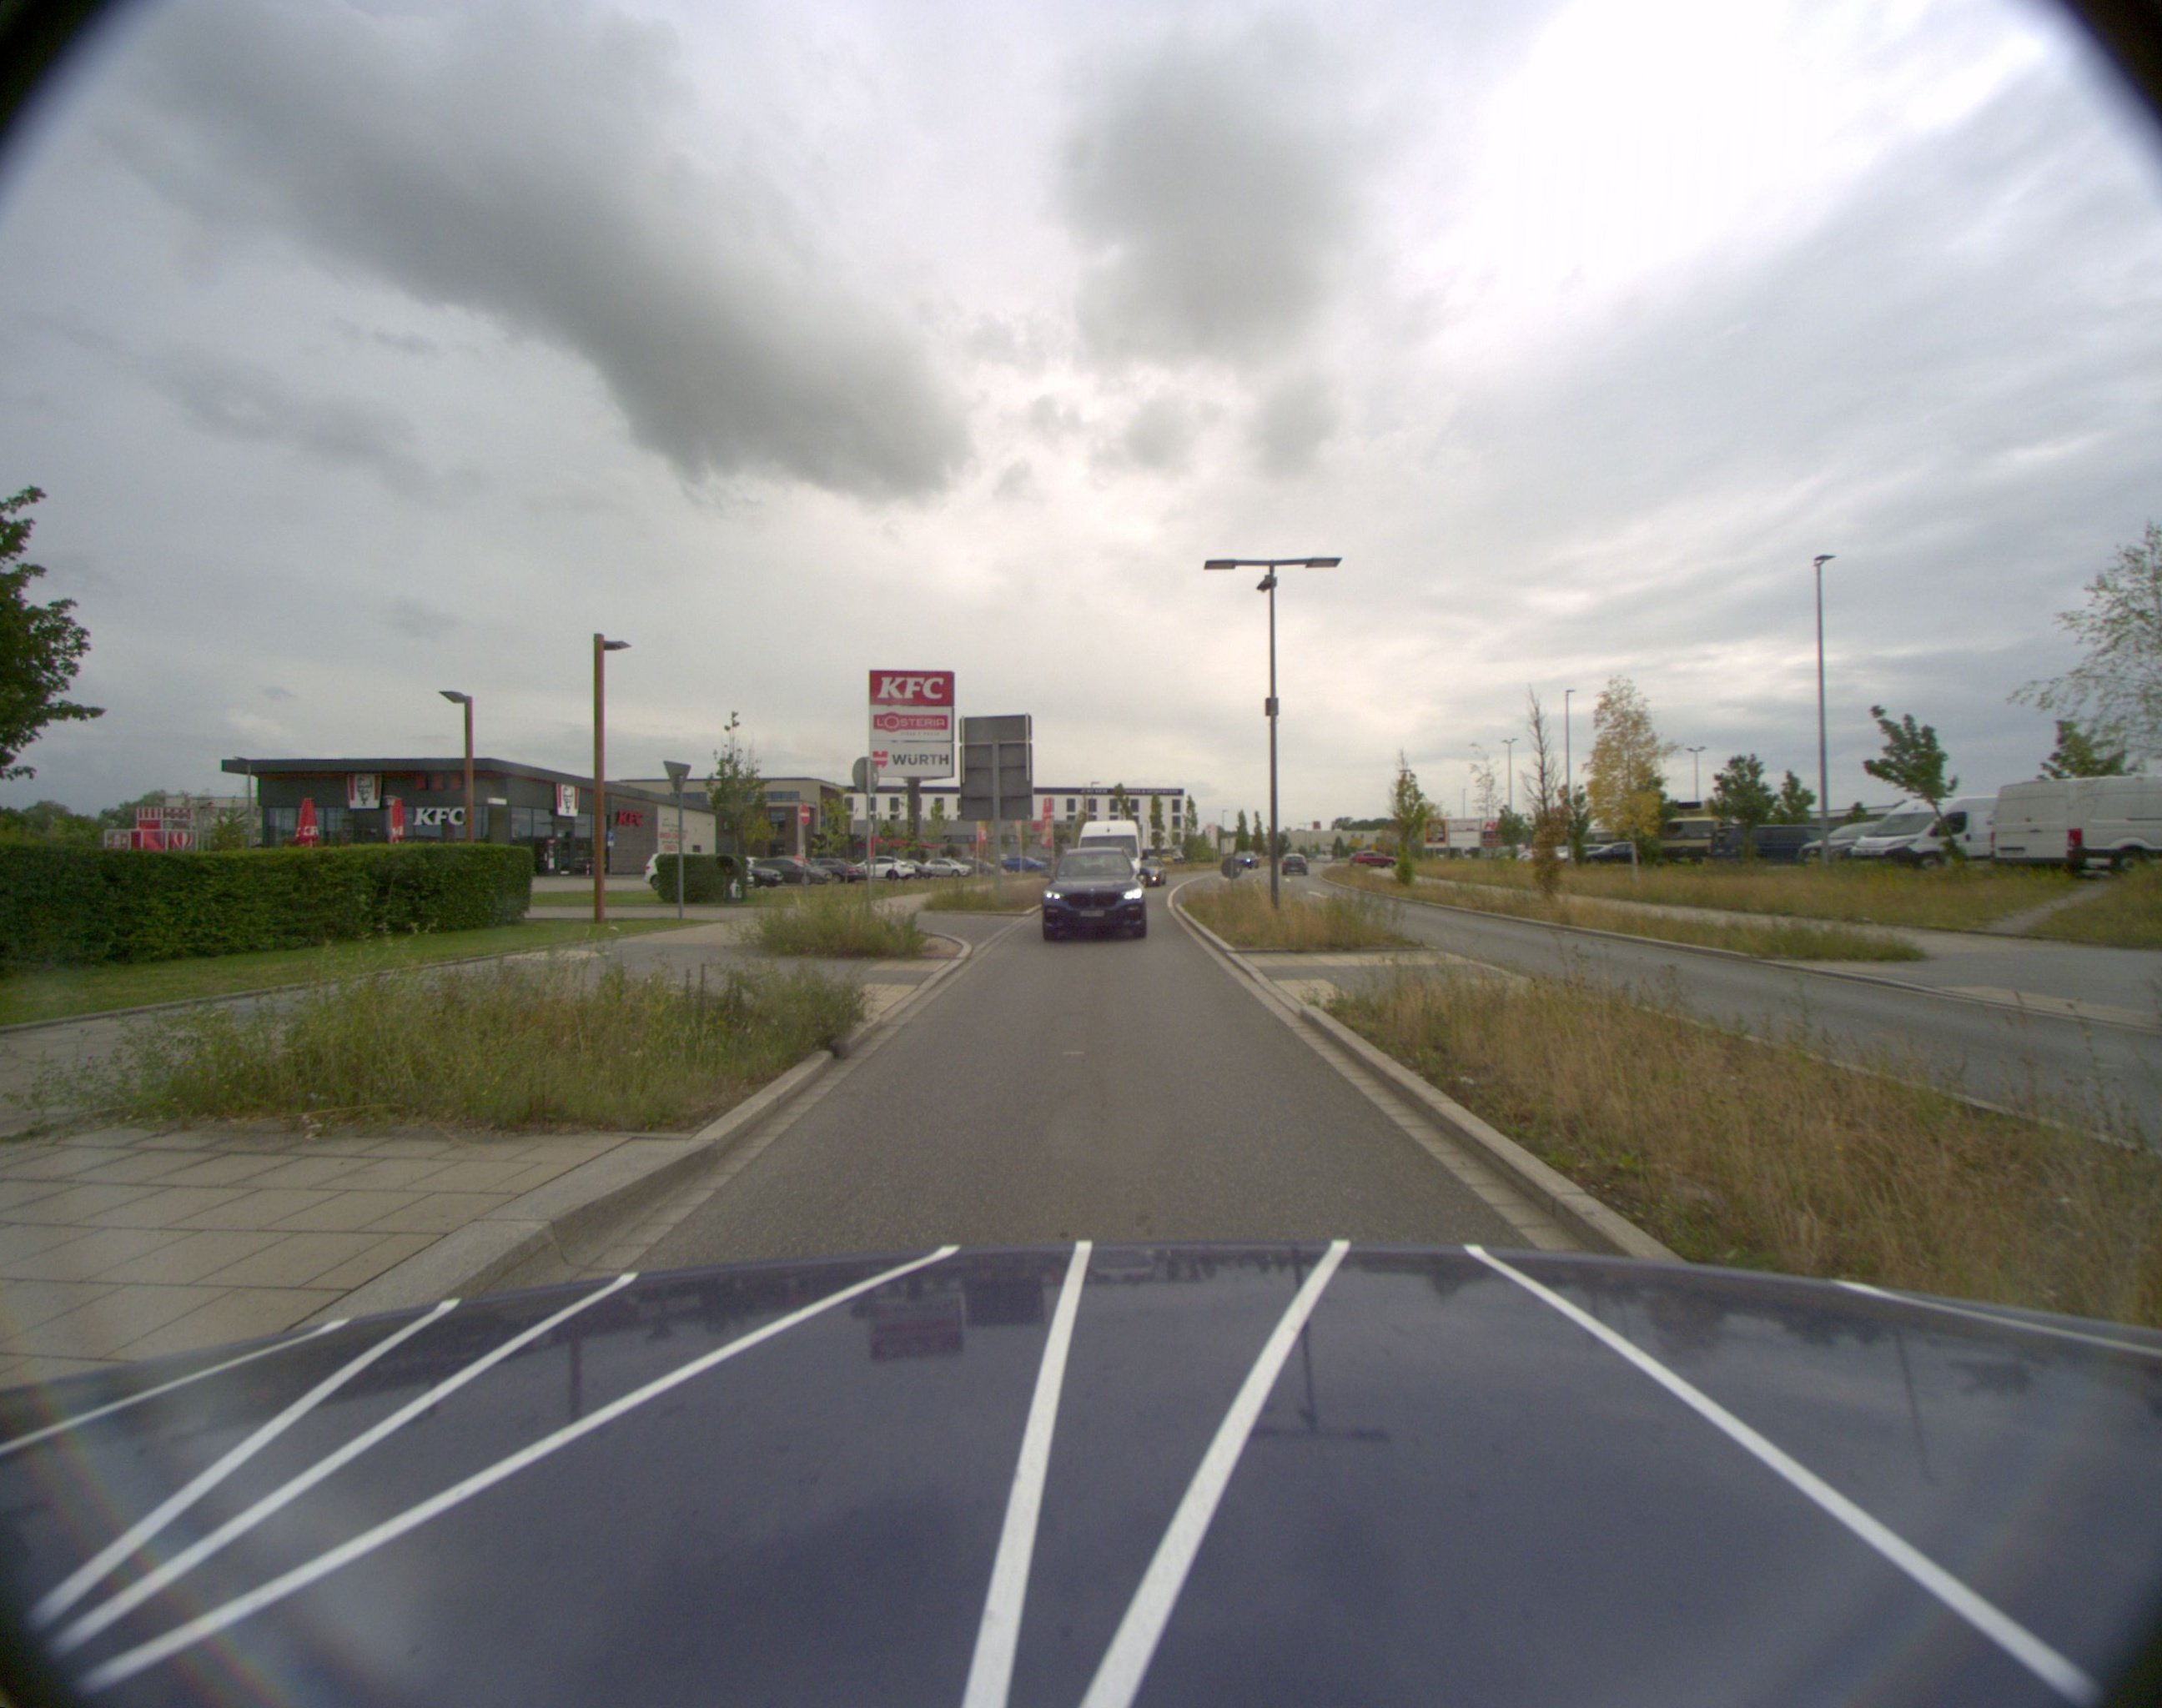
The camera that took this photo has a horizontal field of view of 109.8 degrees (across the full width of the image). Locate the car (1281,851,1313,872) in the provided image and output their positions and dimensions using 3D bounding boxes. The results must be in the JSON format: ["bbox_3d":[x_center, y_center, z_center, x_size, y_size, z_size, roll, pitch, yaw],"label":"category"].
[{"bbox_3d":[15.575,0.539,54.677,1.730,1.484,4.007,0,0,24],"label":"car"}]

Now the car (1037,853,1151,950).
[{"bbox_3d":[0.246,0.788,14.545,1.867,1.598,4.000,-1,0,1],"label":"car"}]

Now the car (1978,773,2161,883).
[{"bbox_3d":[27.601,-0.725,19.415,6.412,2.609,2.065,-2,1,5],"label":"car"}]

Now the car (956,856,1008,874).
[{"bbox_3d":[-8.381,0.896,64.339,3.992,1.477,1.849,-1,0,14],"label":"car"}]

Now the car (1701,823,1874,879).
[{"bbox_3d":[29.612,-0.110,32.013,5.050,2.210,2.066,-1,0,9],"label":"car"}]

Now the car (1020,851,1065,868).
[{"bbox_3d":[-3.804,0.570,75.817,3.992,1.477,1.849,-2,1,18],"label":"car"}]

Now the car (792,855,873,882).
[{"bbox_3d":[-14.196,0.841,43.445,3.994,1.477,1.849,-1,0,10],"label":"car"}]

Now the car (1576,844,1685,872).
[{"bbox_3d":[33.716,0.262,46.763,5.049,1.646,2.066,-1,0,11],"label":"car"}]

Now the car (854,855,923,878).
[{"bbox_3d":[-12.684,0.815,50.279,3.994,1.513,1.849,-1,0,10],"label":"car"}]

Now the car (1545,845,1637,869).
[{"bbox_3d":[36.217,0.196,54.058,5.049,1.646,2.066,-1,0,11],"label":"car"}]

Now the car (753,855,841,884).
[{"bbox_3d":[-15.135,0.828,40.555,3.994,1.477,1.849,-1,0,10],"label":"car"}]

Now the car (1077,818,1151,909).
[{"bbox_3d":[0.947,0.270,24.108,2.026,2.513,6.105,-1,0,1],"label":"car"}]

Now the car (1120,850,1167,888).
[{"bbox_3d":[3.126,0.726,37.275,1.997,1.660,4.003,-2,-1,8],"label":"car"}]

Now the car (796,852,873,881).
[{"bbox_3d":[-15.089,0.736,46.643,3.994,1.602,1.848,-2,1,10],"label":"car"}]

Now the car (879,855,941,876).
[{"bbox_3d":[-12.405,0.798,55.302,3.994,1.477,1.848,-1,0,9],"label":"car"}]

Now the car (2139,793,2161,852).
[{"bbox_3d":[43.927,-1.278,28.311,2.063,2.359,5.057,-2,1,2],"label":"car"}]

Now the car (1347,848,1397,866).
[{"bbox_3d":[27.276,0.283,71.359,3.999,1.455,1.735,-2,1,-7],"label":"car"}]

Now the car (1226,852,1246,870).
[{"bbox_3d":[15.356,0.653,75.092,1.860,1.660,4.004,-2,-1,12],"label":"car"}]

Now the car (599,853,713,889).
[{"bbox_3d":[-18.648,0.740,33.458,3.996,1.519,1.847,-1,0,2],"label":"car"}]

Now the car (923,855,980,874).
[{"bbox_3d":[-10.199,0.840,59.866,3.992,1.477,1.849,-1,0,14],"label":"car"}]

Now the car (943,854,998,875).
[{"bbox_3d":[-9.017,0.850,62.027,3.993,1.477,1.849,-2,1,14],"label":"car"}]

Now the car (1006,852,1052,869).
[{"bbox_3d":[-5.012,0.638,73.504,3.992,1.477,1.849,-2,1,18],"label":"car"}]

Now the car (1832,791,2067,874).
[{"bbox_3d":[27.777,-0.663,24.442,5.053,2.359,2.064,-2,1,2],"label":"car"}]
